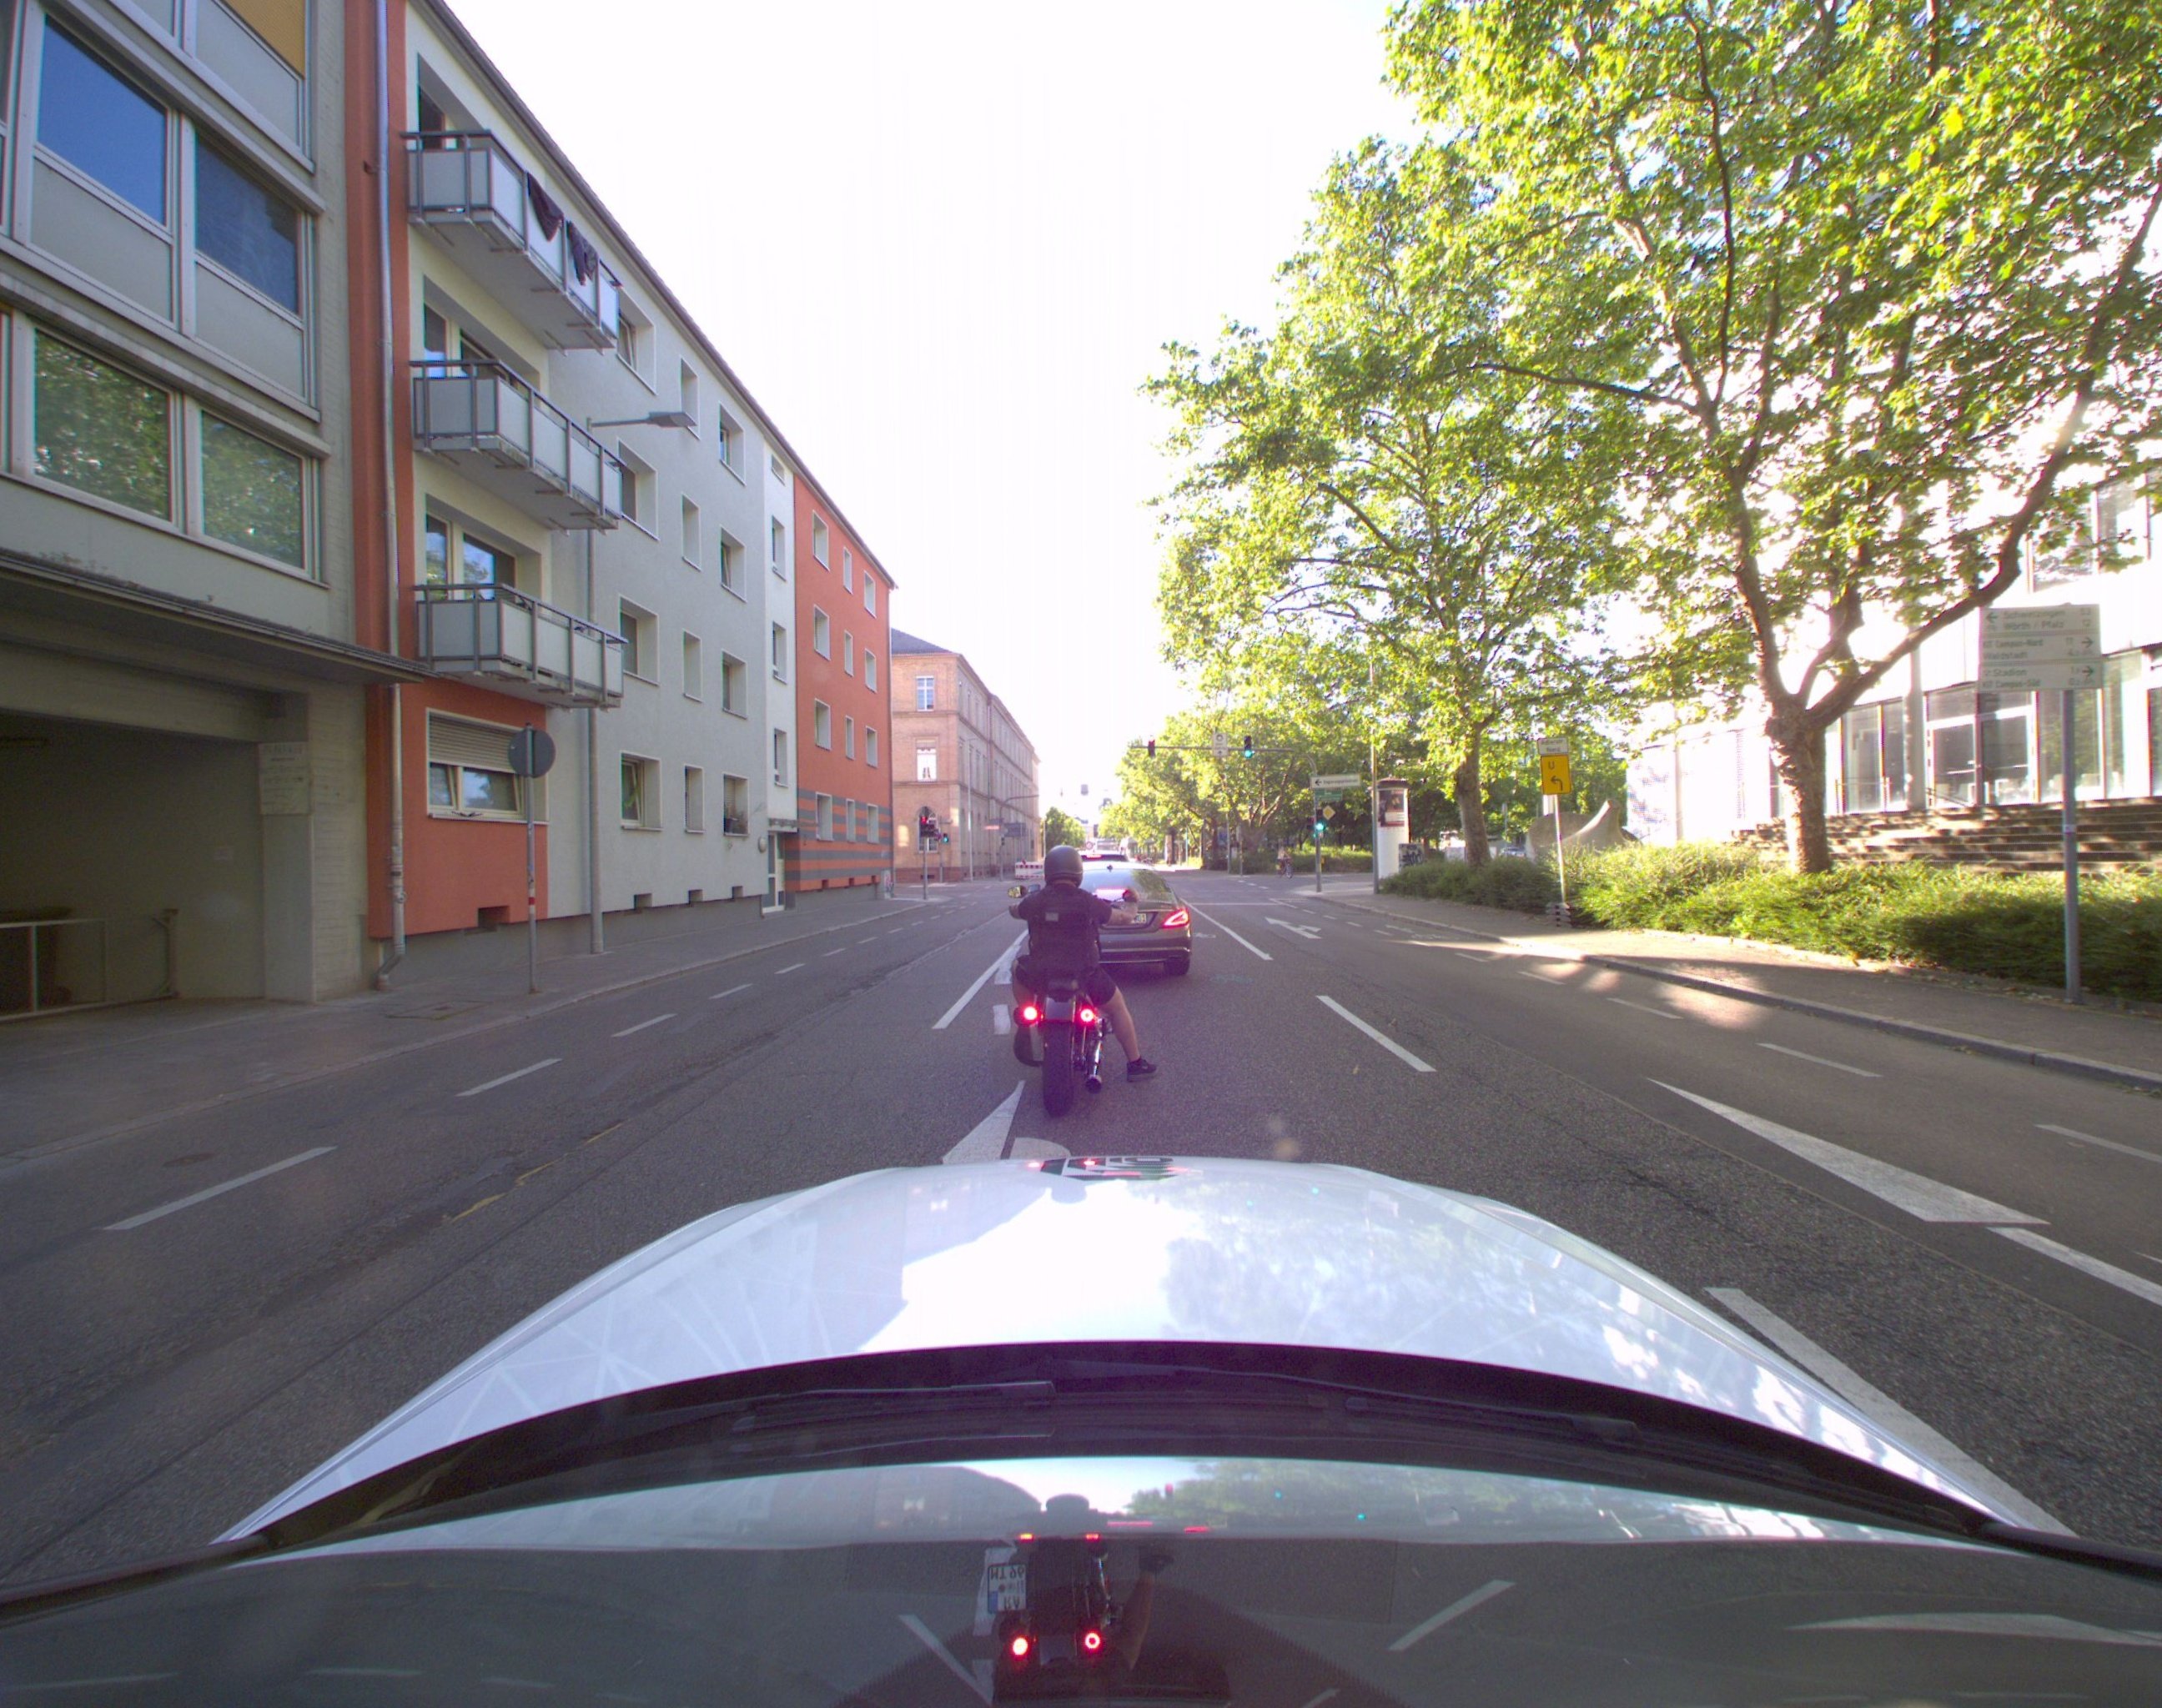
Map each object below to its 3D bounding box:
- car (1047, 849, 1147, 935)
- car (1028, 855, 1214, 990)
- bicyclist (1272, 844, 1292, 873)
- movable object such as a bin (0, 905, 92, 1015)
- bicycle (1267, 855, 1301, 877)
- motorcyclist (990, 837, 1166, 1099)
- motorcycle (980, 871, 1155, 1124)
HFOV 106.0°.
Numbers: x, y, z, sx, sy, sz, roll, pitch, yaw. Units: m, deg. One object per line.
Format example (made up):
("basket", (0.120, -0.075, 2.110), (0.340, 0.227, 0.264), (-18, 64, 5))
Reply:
("car", (0.271, 0.701, 16.898), (1.808, 1.536, 3.847), (-1, 0, -1))
("car", (0.321, 0.763, 11.201), (1.900, 1.441, 4.279), (-1, 0, -6))
("bicyclist", (11.257, 0.262, 45.622), (0.719, 1.582, 0.929), (0, -1, -22))
("movable object such as a bin", (-11.322, 1.104, 8.650), (0.736, 1.074, 0.716), (0, -1, 2))
("bicycle", (11.316, 0.655, 45.427), (0.718, 1.172, 2.160), (0, -1, -22))
("motorcyclist", (-0.003, 0.693, 5.393), (1.057, 1.582, 0.908), (0, -1, 1))
("motorcycle", (-0.038, 0.818, 5.663), (0.958, 1.357, 2.321), (0, -1, 2))
